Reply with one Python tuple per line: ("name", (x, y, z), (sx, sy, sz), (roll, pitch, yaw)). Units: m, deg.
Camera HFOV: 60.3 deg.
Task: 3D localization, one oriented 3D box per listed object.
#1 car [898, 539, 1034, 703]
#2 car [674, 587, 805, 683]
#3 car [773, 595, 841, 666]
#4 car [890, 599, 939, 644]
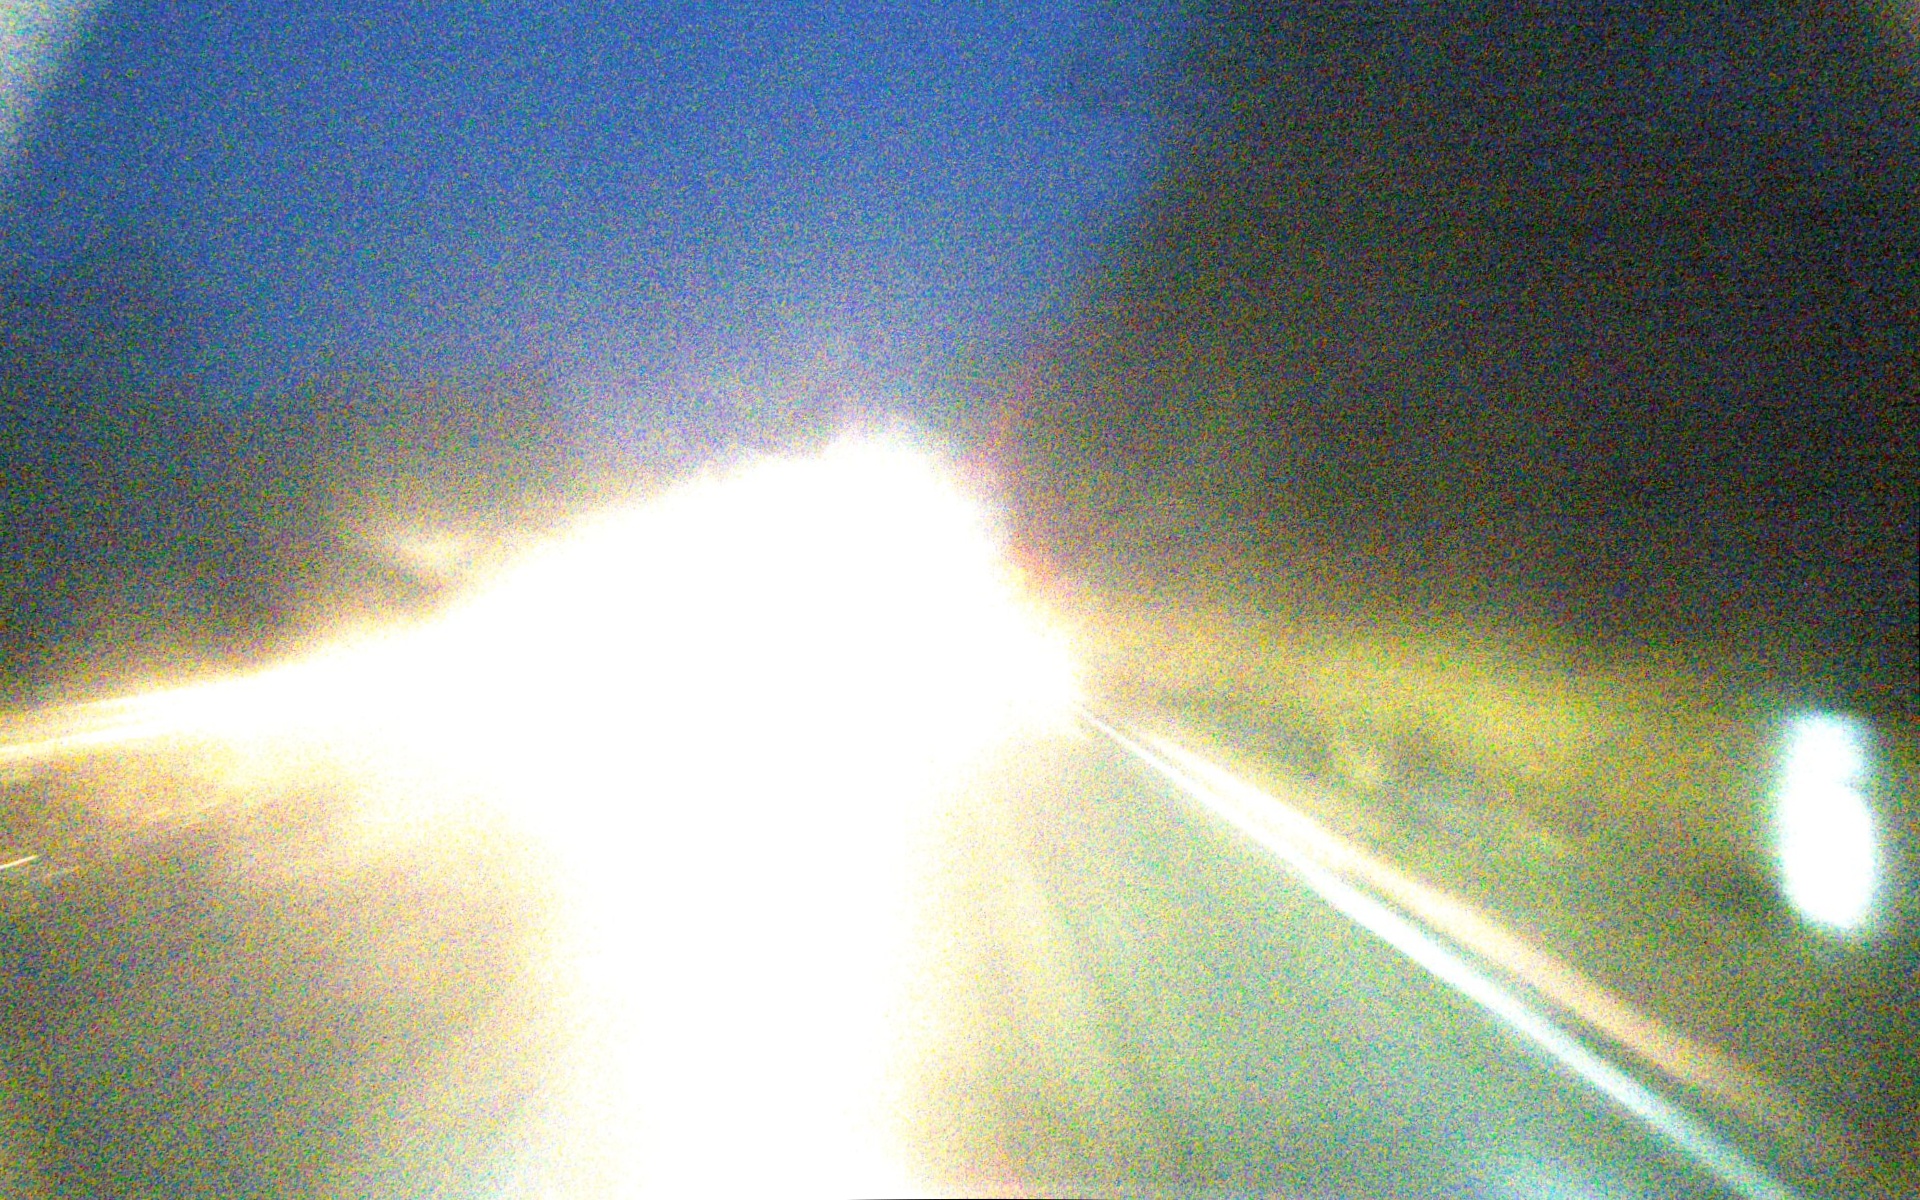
("car", (0.081, 0.281, 29.573), (2.137, 2.601, 4.508), (3, 2, -1))
("car", (-3.702, 0.579, 28.370), (1.806, 1.531, 3.709), (0, -1, -1))
("car", (-4.522, 0.865, 49.320), (1.799, 1.876, 3.999), (-1, 2, -2))
("car", (-1.586, 0.758, 58.533), (1.672, 1.531, 3.605), (0, -1, -1))
